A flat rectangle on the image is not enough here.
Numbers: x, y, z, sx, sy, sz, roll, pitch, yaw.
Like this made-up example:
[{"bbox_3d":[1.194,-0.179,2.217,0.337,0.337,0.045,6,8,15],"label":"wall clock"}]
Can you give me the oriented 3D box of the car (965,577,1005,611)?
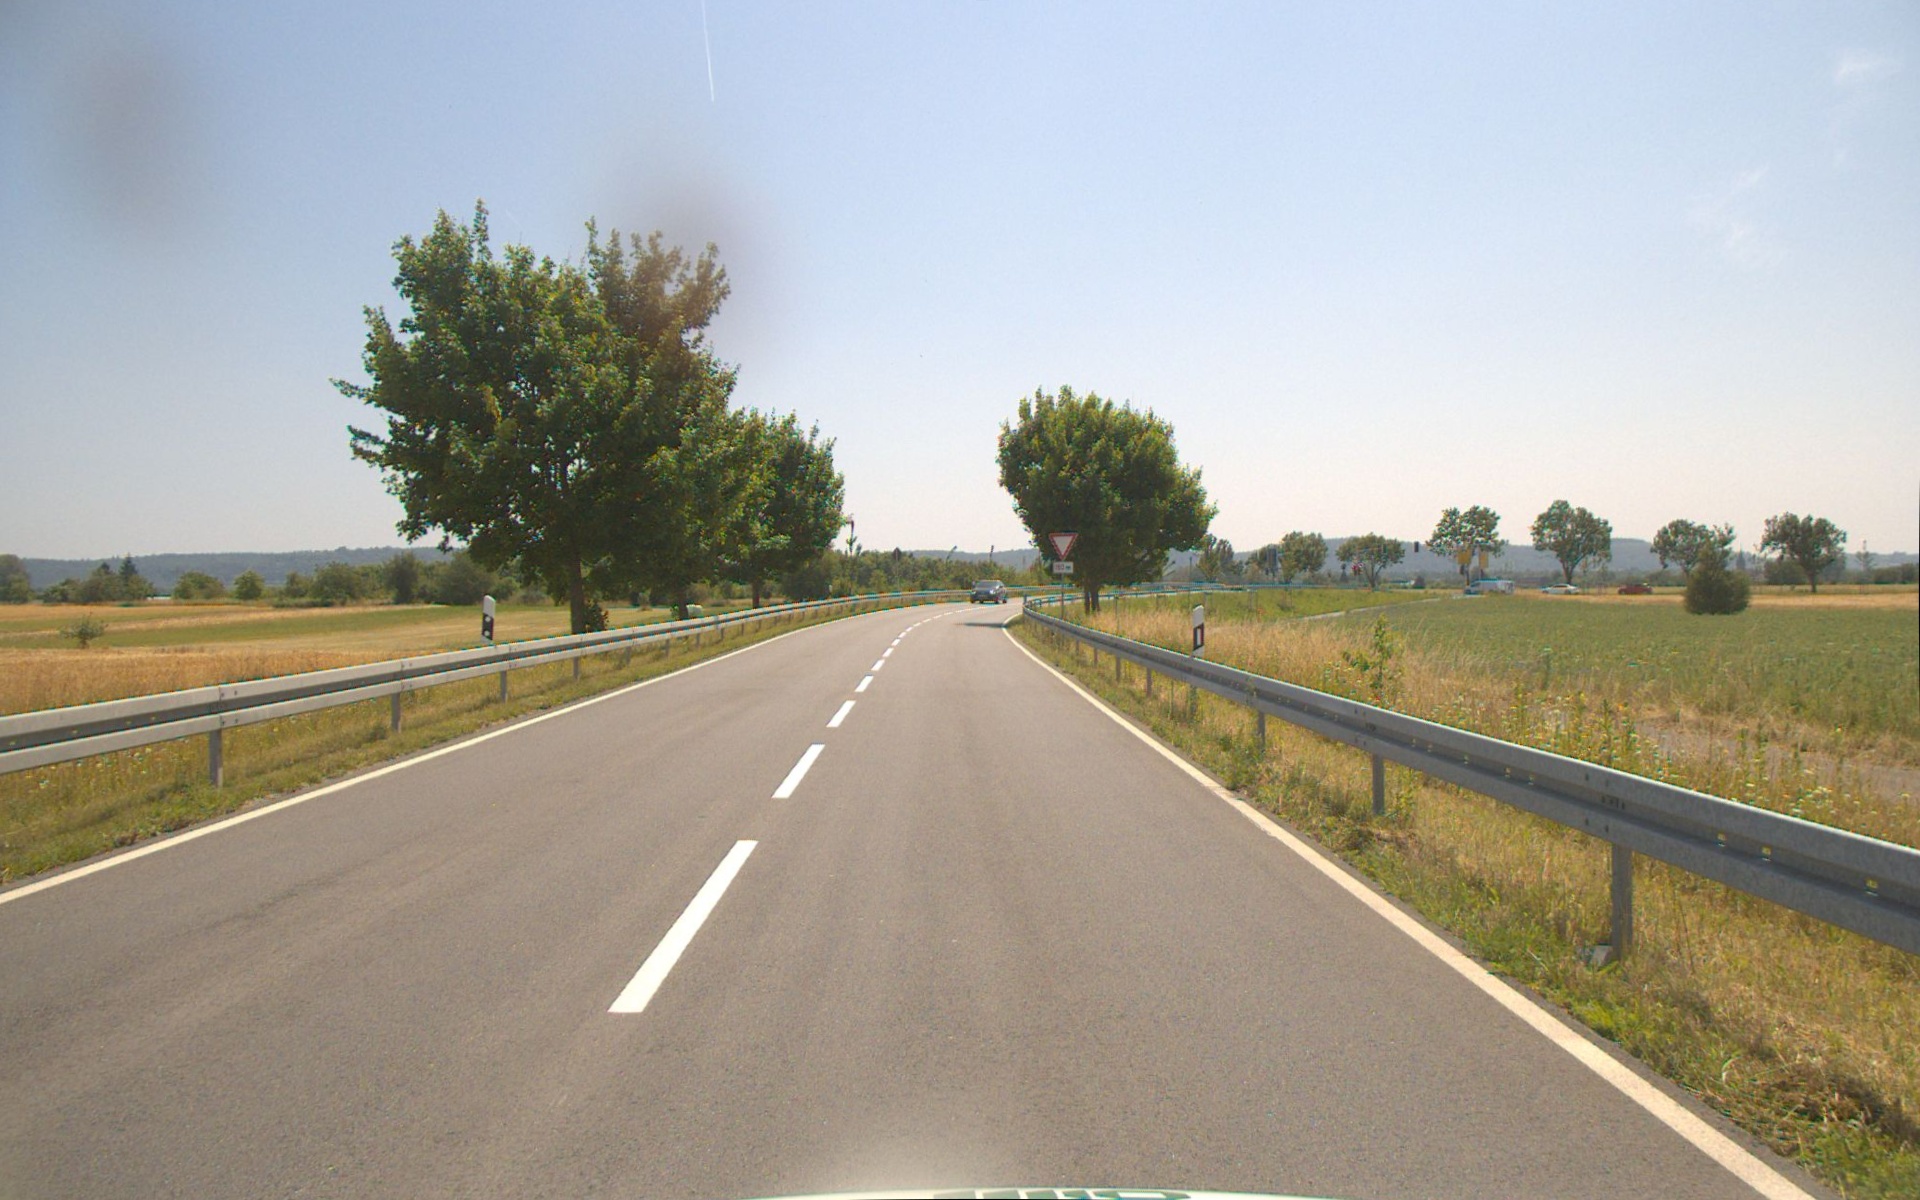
[{"bbox_3d":[1.633,-0.385,105.879,1.951,2.049,4.003,1,0,10],"label":"car"}]
